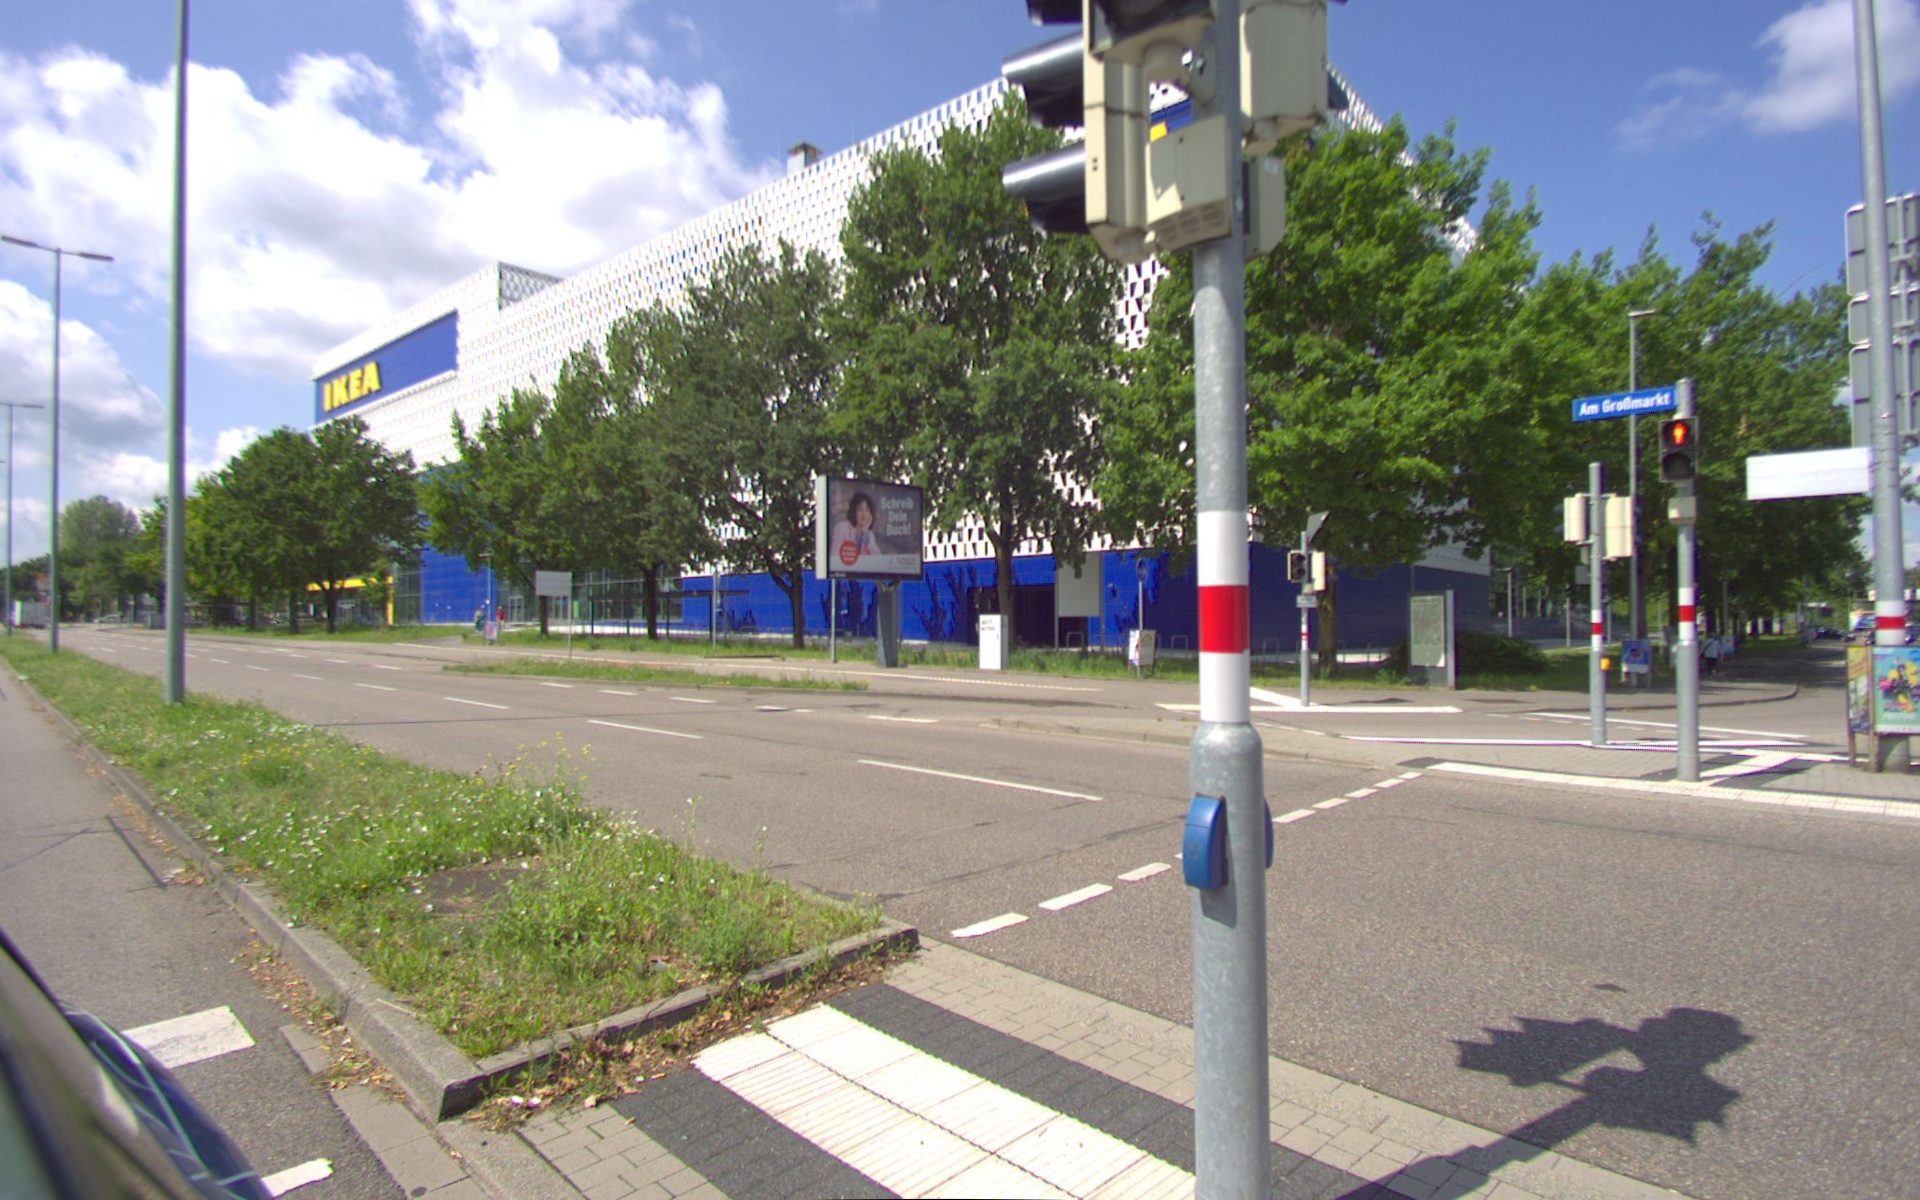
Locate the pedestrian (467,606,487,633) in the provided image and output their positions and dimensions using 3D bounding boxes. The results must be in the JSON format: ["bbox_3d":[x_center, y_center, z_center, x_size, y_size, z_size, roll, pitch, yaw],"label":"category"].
[{"bbox_3d":[-31.762,1.290,66.565,0.841,1.741,1.166,-1,0,-43],"label":"pedestrian"}]

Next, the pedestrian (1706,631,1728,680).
[{"bbox_3d":[25.120,1.831,33.585,0.504,1.567,0.750,-1,-2,40],"label":"pedestrian"}]

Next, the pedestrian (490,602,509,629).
[{"bbox_3d":[-30.642,1.010,67.328,0.841,1.741,1.166,-1,0,-43],"label":"pedestrian"}]

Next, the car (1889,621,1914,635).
[{"bbox_3d":[120.287,3.615,129.303,1.932,1.768,4.757,-1,-2,39],"label":"car"}]

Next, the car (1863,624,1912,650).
[{"bbox_3d":[57.616,2.287,62.832,4.517,1.567,1.899,1,-2,-43],"label":"car"}]

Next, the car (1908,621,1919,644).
[{"bbox_3d":[75.394,2.494,78.751,1.932,1.769,4.757,-4,-4,39],"label":"car"}]

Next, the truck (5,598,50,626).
[{"bbox_3d":[-96.262,1.181,104.427,5.784,2.772,2.933,0,1,43],"label":"truck"}]
